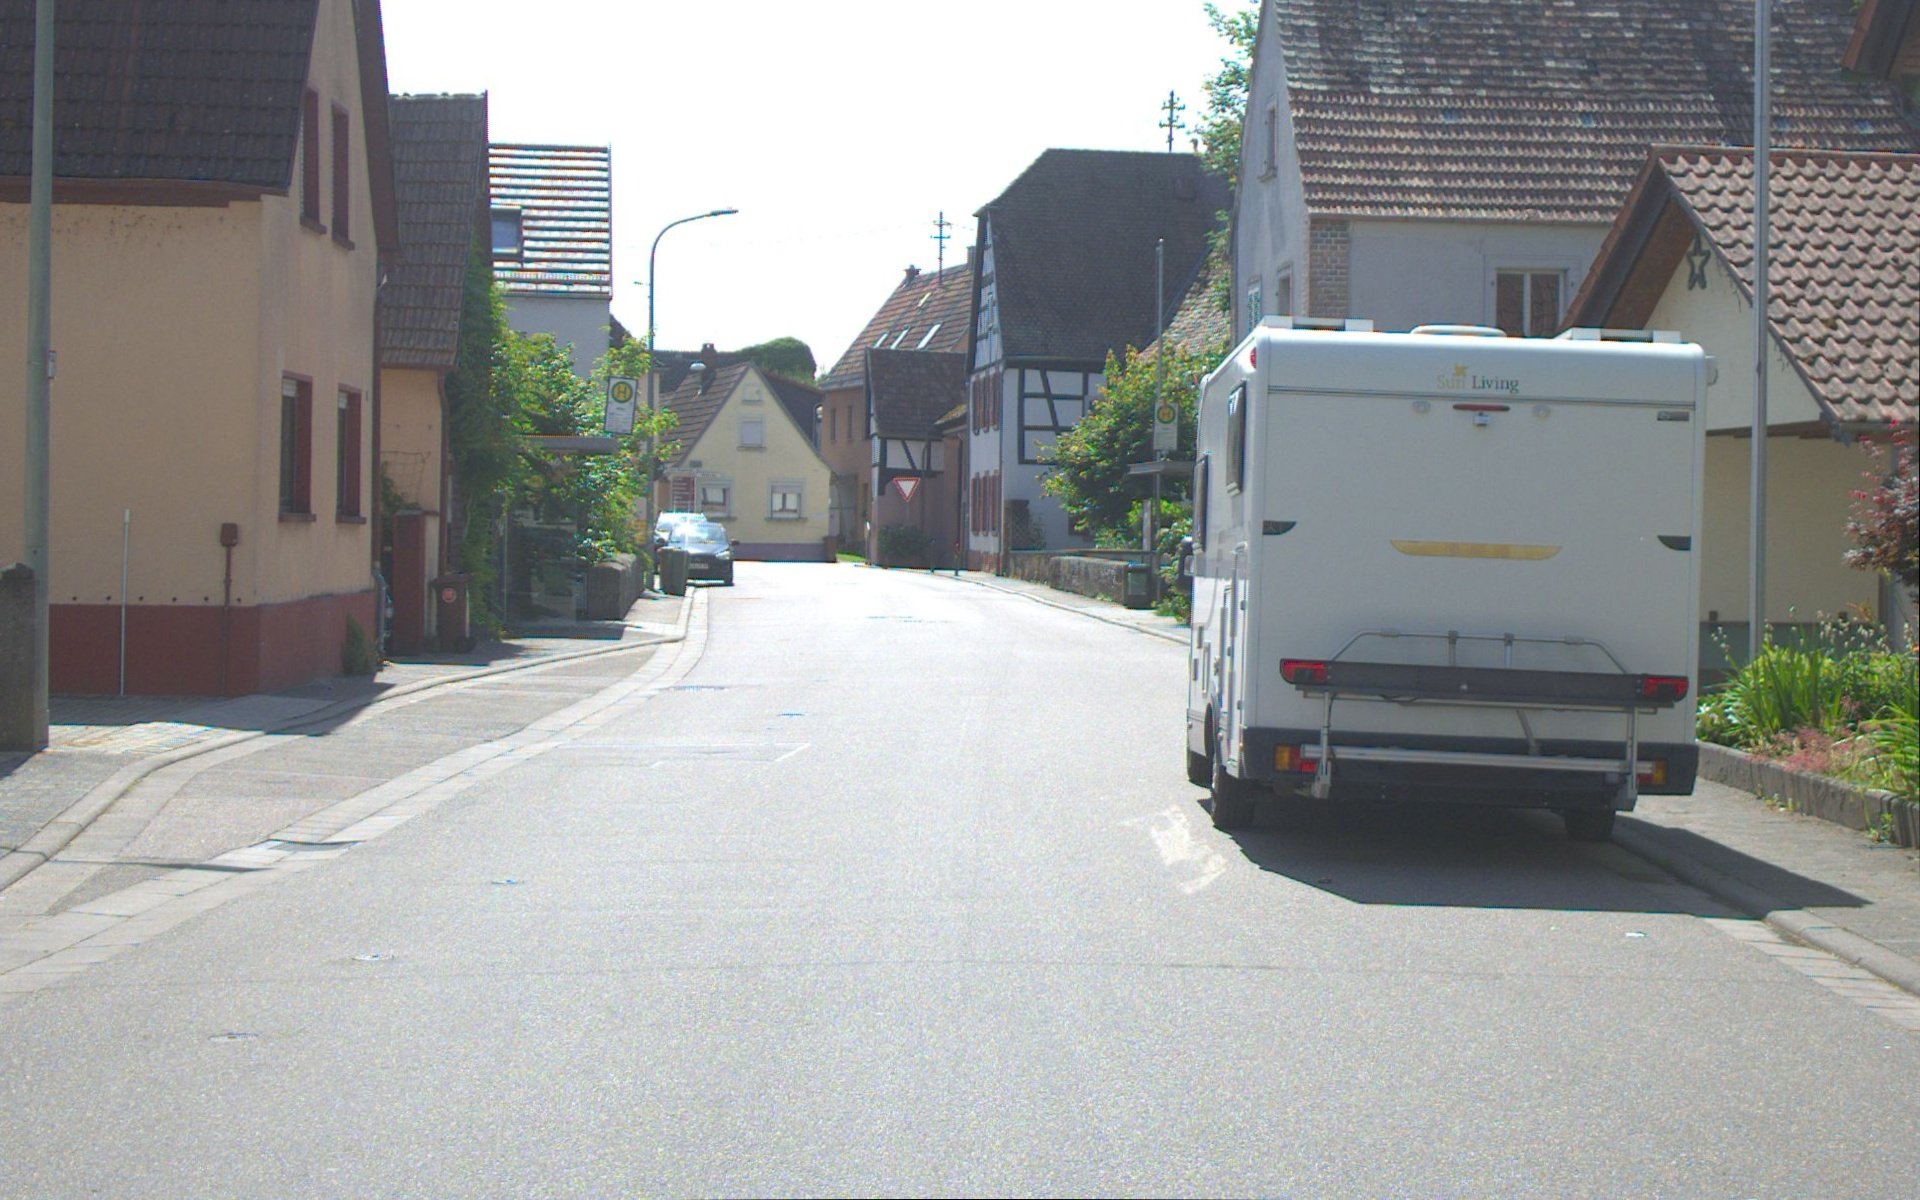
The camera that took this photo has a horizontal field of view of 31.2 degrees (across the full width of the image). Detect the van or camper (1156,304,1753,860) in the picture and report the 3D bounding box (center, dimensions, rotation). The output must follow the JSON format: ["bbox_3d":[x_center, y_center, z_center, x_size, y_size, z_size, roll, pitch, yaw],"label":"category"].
[{"bbox_3d":[2.554,-0.119,19.123,2.521,2.687,4.556,1,1,-1],"label":"van or camper"}]

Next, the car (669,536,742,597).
[{"bbox_3d":[-6.087,-0.823,82.469,1.511,1.431,3.511,0,1,-1],"label":"car"}]

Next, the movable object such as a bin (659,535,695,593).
[{"bbox_3d":[-5.762,-0.730,70.013,0.688,1.181,0.714,0,1,-1],"label":"movable object such as a bin"}]
